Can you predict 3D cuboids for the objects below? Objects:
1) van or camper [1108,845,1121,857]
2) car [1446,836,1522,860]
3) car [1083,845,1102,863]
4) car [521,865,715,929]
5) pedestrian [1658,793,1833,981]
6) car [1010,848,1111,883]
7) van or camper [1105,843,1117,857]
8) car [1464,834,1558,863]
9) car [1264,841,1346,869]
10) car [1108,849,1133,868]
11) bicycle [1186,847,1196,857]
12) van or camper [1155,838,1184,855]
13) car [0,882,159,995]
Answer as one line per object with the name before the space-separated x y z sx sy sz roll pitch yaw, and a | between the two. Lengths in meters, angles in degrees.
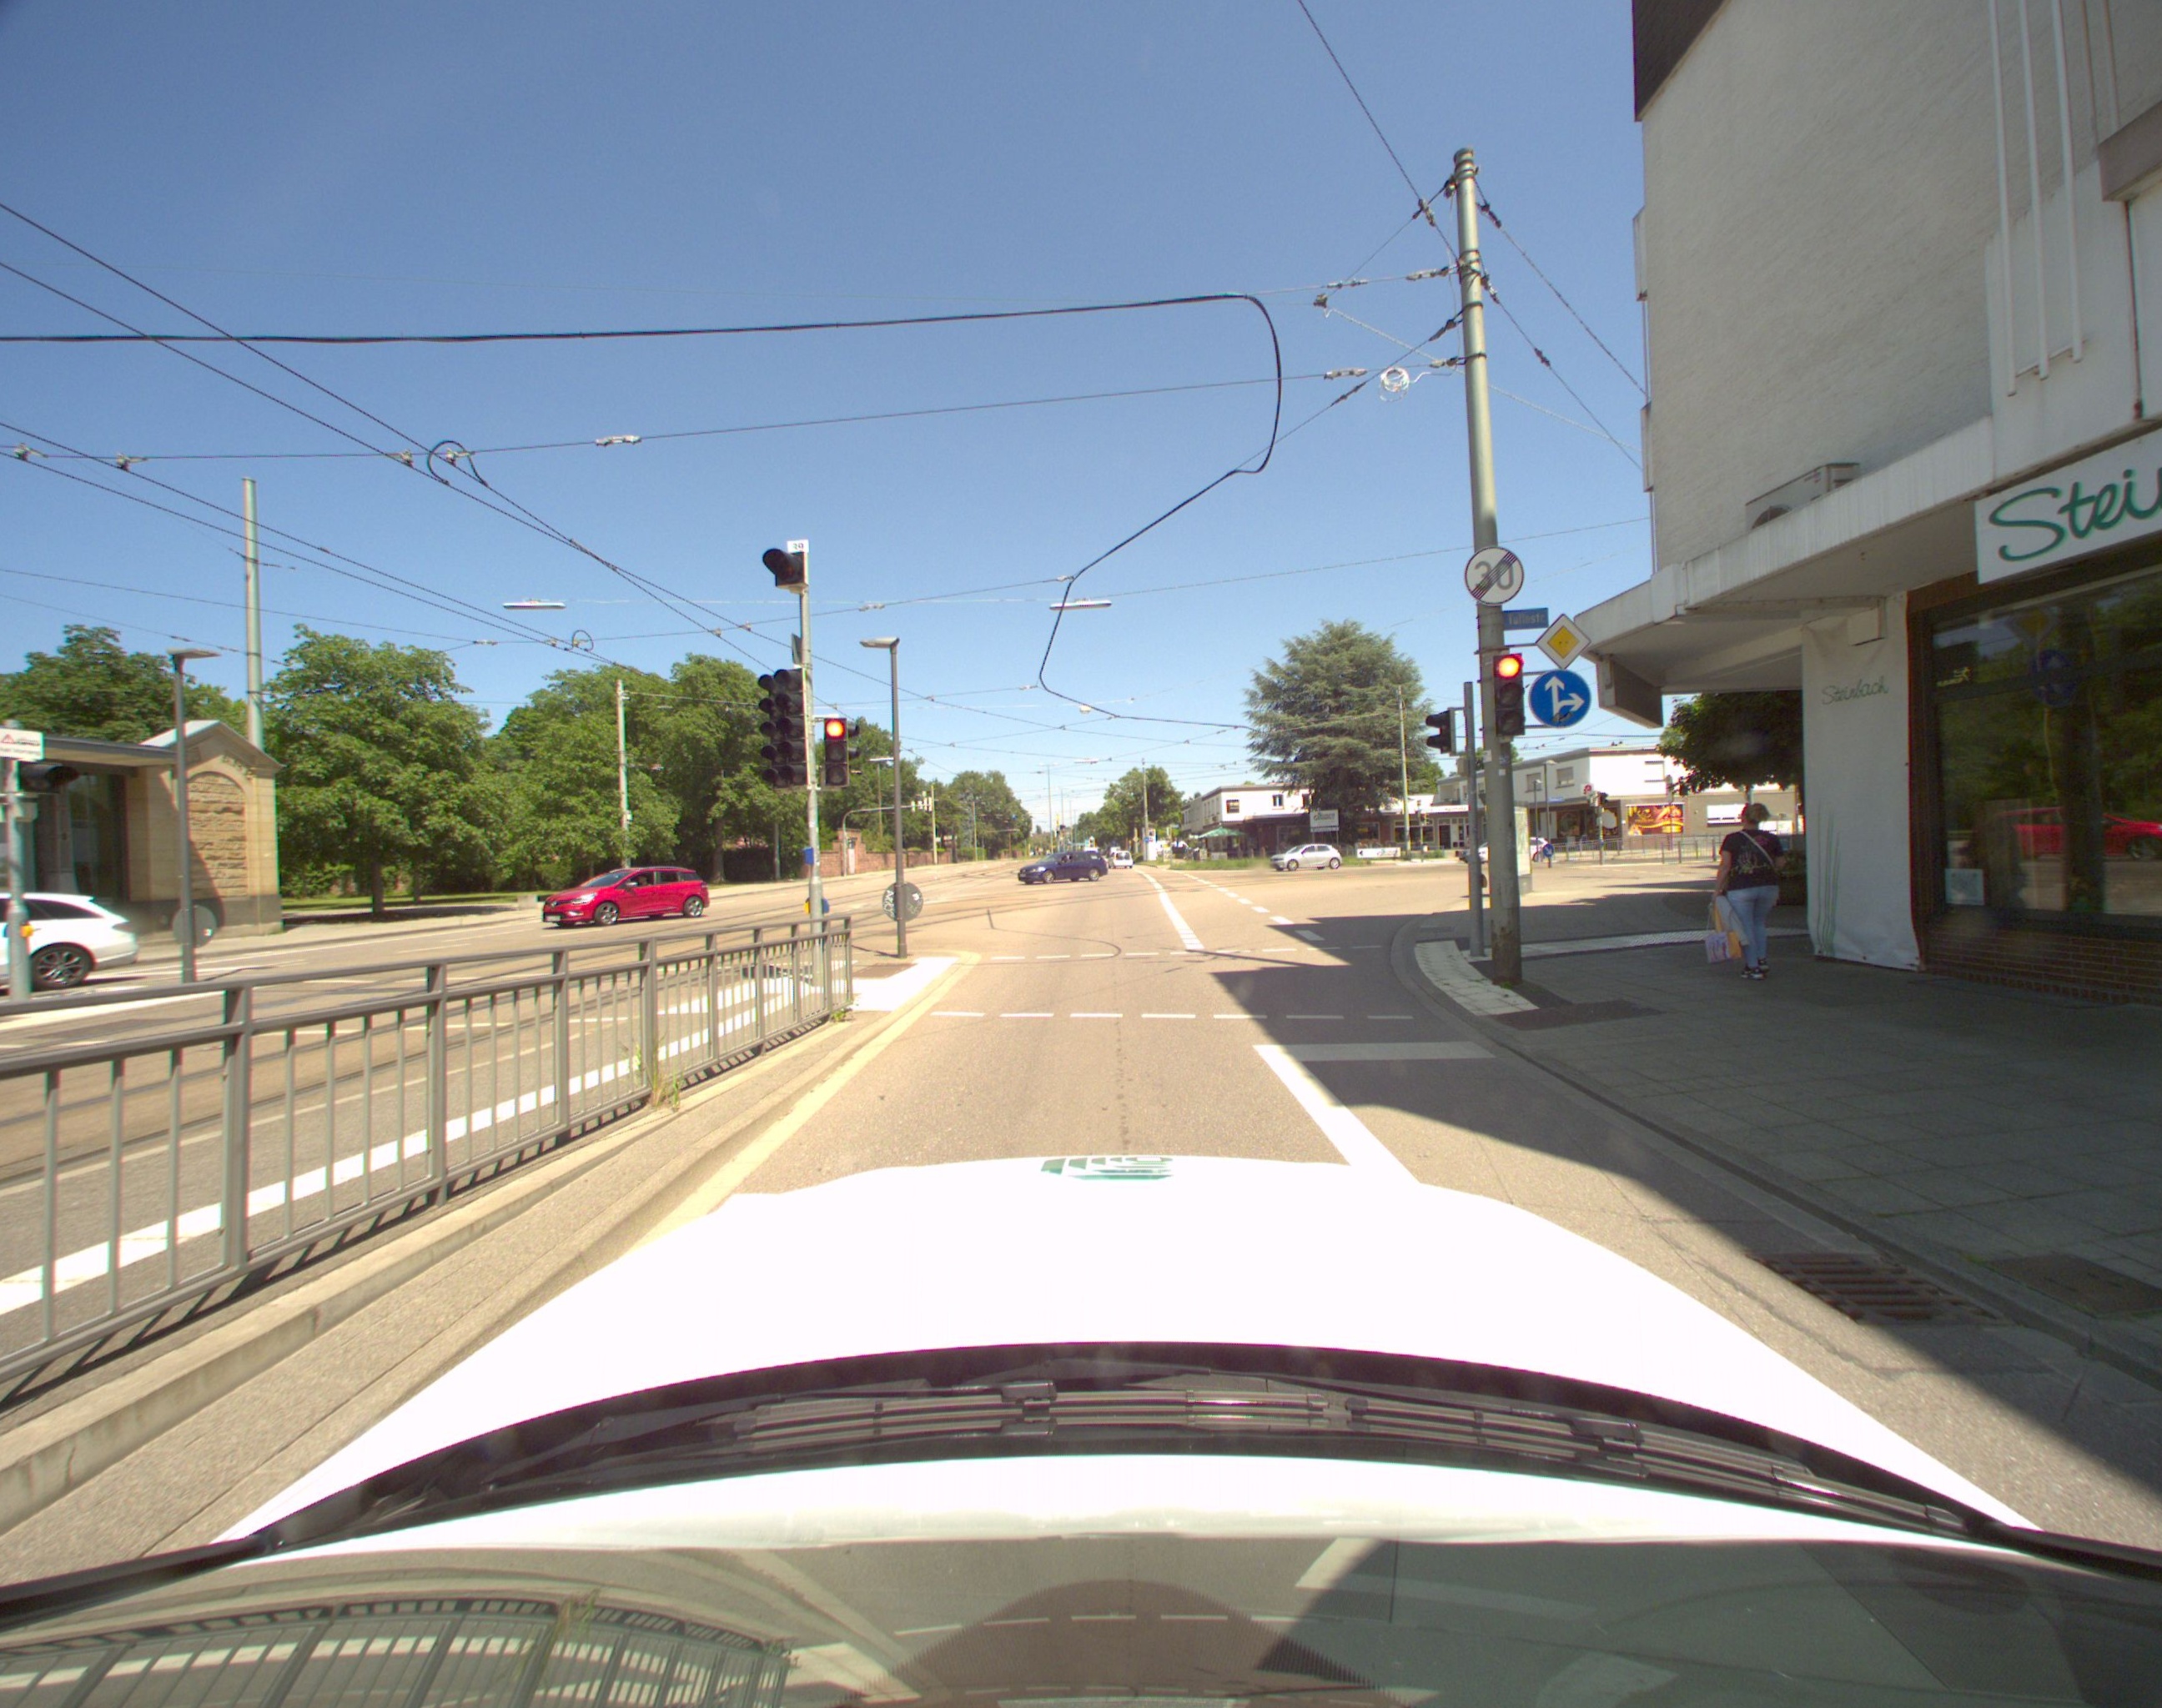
van or camper | 5.359 -0.508 130.475 1.915 1.772 4.002 -2 0 2
car | 24.717 -0.356 50.051 3.817 1.351 1.642 -2 0 0
car | 1.208 -0.055 88.508 1.988 1.859 3.999 -2 1 -1
car | -12.188 1.087 21.754 1.801 1.395 4.200 -2 0 25
pedestrian | 6.122 0.293 7.562 0.822 1.583 0.828 -6 0 7
car | -0.935 0.508 38.374 4.496 1.442 1.843 -2 0 -34
van or camper | 5.583 -0.708 152.956 1.988 2.464 3.998 -2 0 -2
car | 24.749 -0.311 46.957 4.470 1.489 1.824 -2 0 0
car | 12.449 0.052 45.311 4.045 1.362 1.815 -2 0 -15
car | 3.351 0.368 69.126 1.667 1.435 3.469 -2 0 -4
bicycle | 11.395 -0.231 84.405 1.028 1.014 2.643 -2 0 8
van or camper | 15.620 -1.292 143.267 4.742 2.671 2.135 -2 0 -1
car | -15.762 1.247 10.603 1.806 1.468 4.637 -3 0 10
